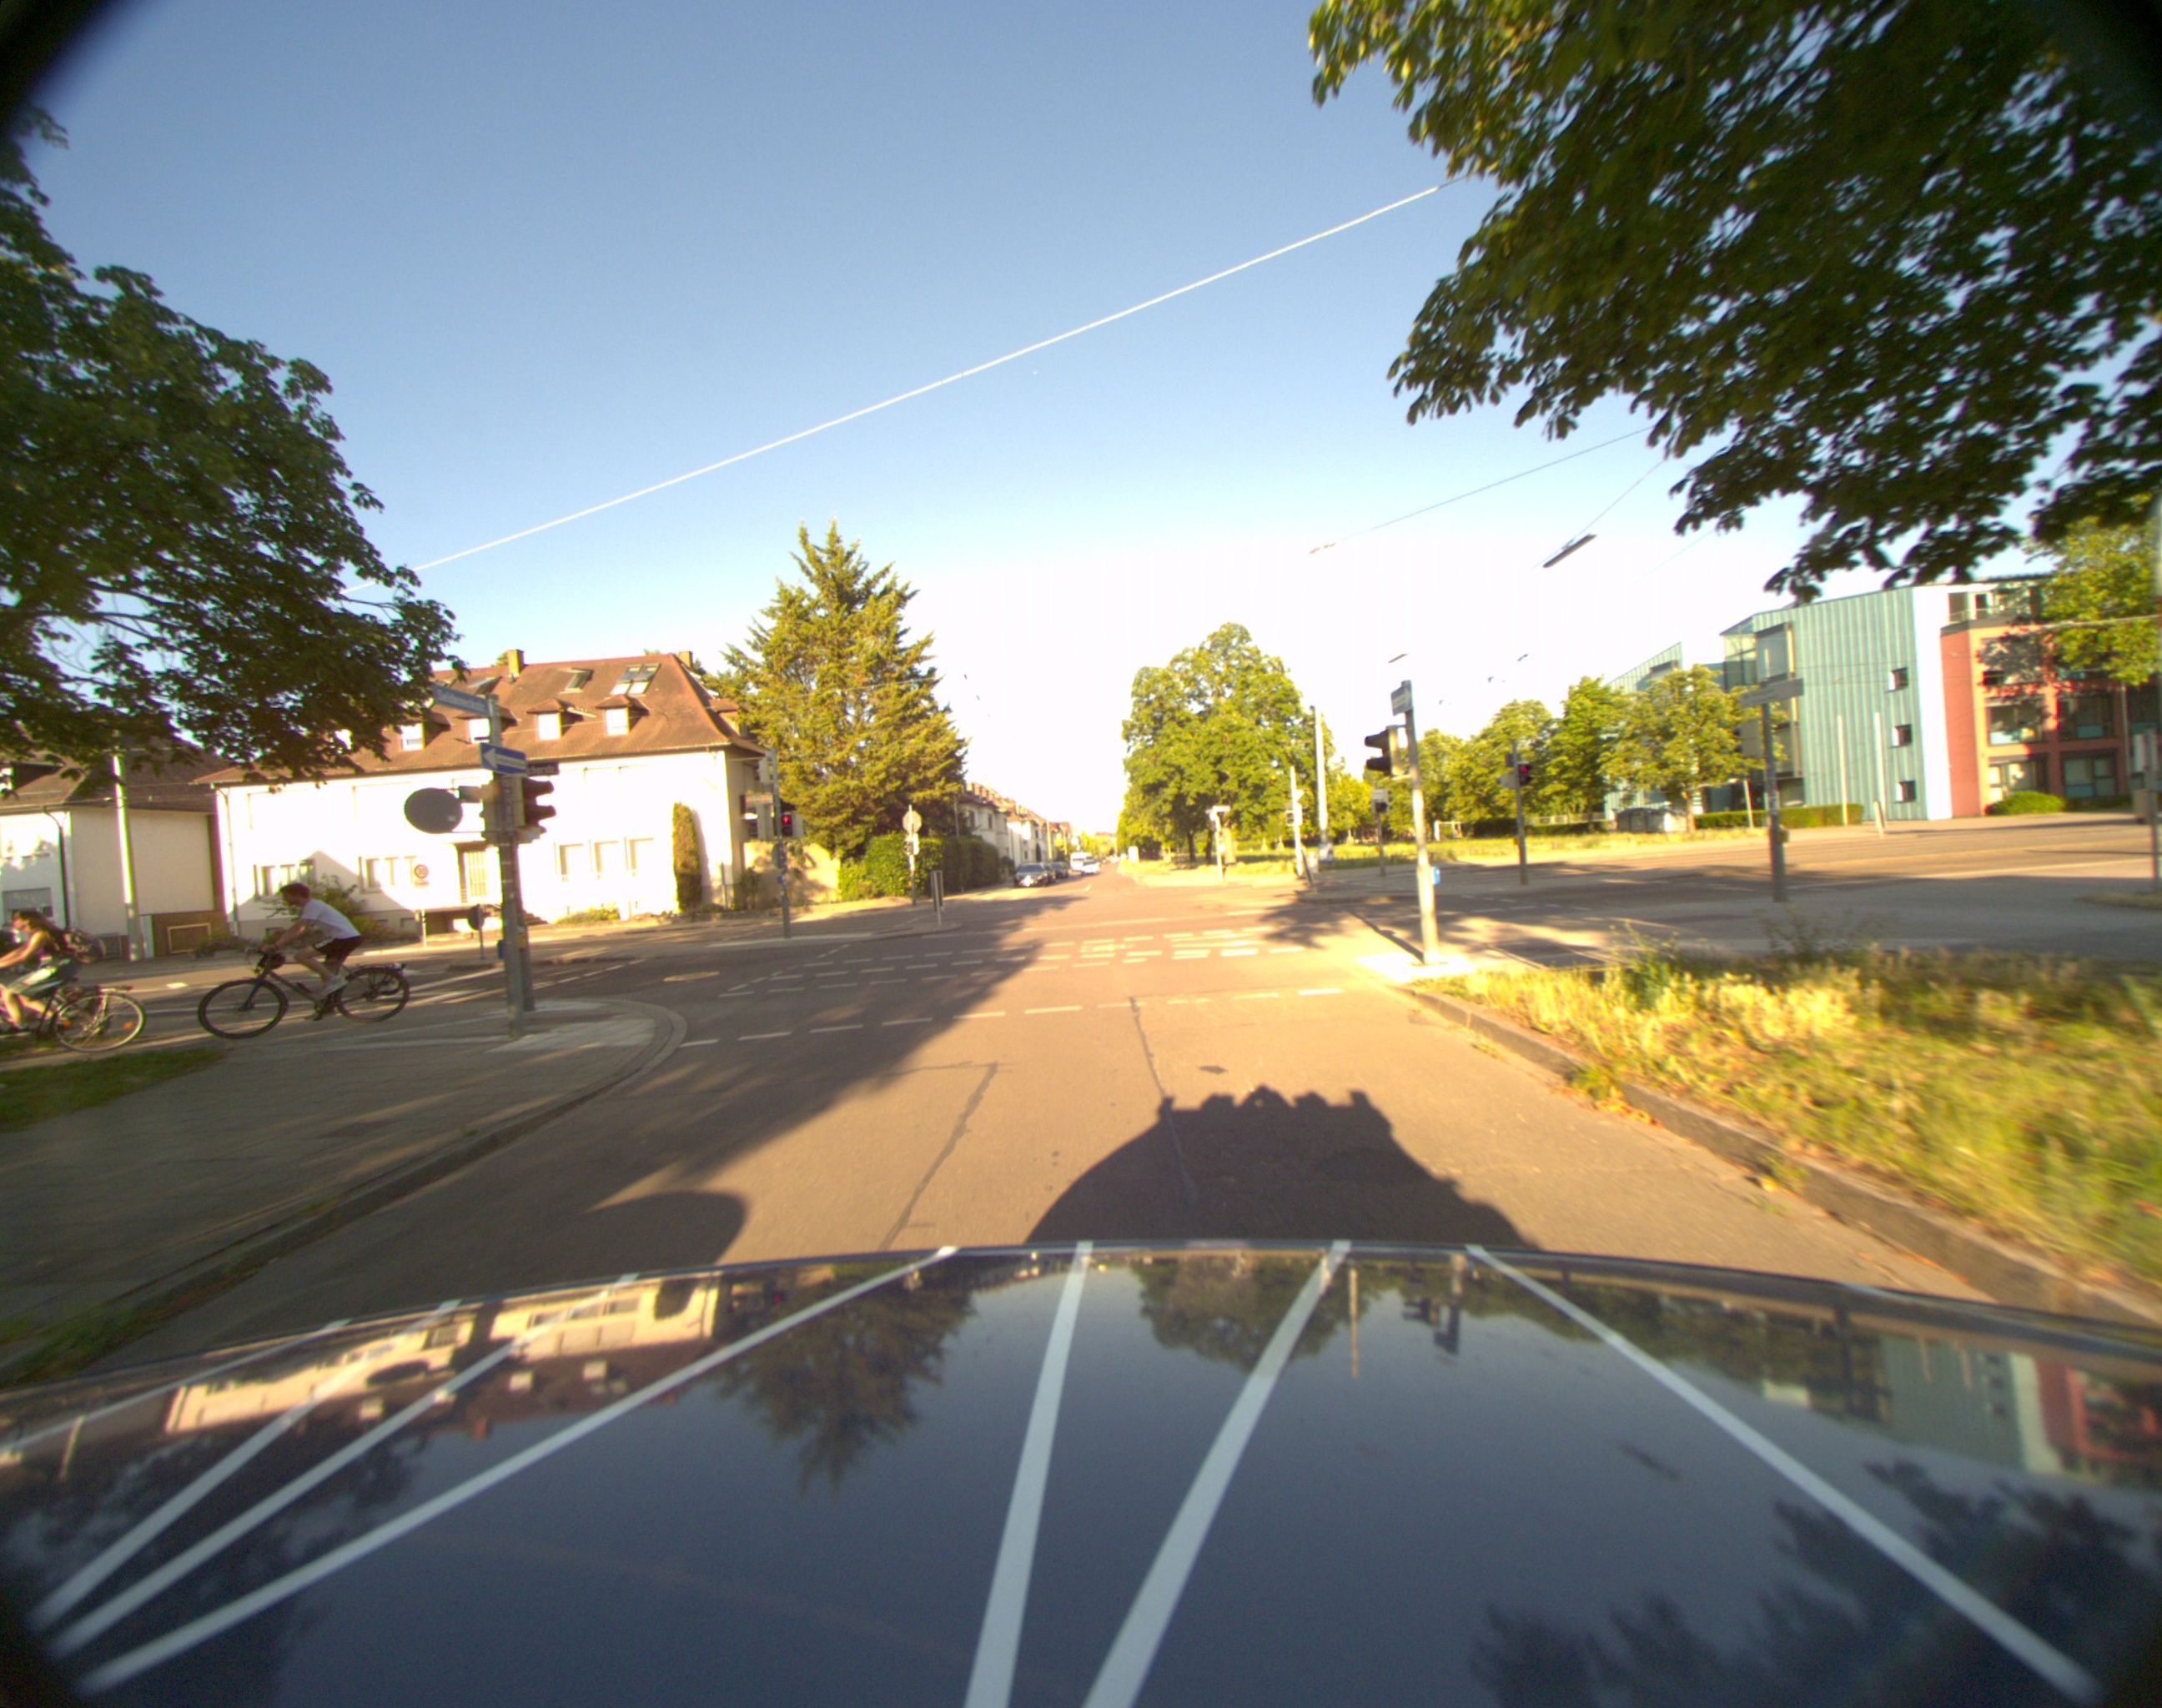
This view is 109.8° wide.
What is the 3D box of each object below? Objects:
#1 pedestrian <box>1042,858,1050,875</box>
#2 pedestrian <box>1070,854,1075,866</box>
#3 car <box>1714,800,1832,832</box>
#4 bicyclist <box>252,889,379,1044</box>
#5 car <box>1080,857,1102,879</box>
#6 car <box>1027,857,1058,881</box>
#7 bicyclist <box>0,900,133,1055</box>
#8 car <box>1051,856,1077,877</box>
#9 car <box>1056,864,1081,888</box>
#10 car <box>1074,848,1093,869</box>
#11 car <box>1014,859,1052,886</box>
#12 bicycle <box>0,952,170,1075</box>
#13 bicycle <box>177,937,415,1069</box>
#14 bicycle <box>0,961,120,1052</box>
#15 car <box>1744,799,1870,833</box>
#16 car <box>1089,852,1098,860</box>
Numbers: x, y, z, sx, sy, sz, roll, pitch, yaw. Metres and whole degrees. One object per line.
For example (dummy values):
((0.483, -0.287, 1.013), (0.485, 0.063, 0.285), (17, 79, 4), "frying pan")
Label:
((-3.990, 1.366, 85.956), (0.587, 1.836, 0.824), (-7, 2, 5), "pedestrian")
((-1.375, 0.862, 117.007), (0.531, 1.788, 0.589), (-7, 1, 2), "pedestrian")
((41.426, -2.268, 45.575), (5.219, 1.662, 1.967), (-2, 2, 2), "car")
((-9.552, 1.363, 9.536), (0.895, 1.722, 0.815), (-8, 2, -42), "bicyclist")
((0.991, 1.353, 75.276), (1.998, 1.775, 3.999), (-6, 1, 1), "car")
((-2.759, 1.027, 55.307), (1.784, 1.469, 4.001), (-7, 0, 3), "car")
((-11.655, 1.367, 8.610), (0.895, 1.553, 0.713), (-8, 2, -42), "bicyclist")
((-1.395, 1.028, 63.999), (1.795, 1.586, 4.077), (-7, 0, 3), "car")
((-1.086, 1.942, 68.964), (1.998, 1.752, 3.999), (-7, 2, 1), "car")
((0.362, 0.513, 103.065), (2.131, 2.461, 5.724), (-7, 1, 3), "car")
((-3.022, 1.137, 48.814), (2.008, 1.490, 4.915), (-2, 0, 1), "car")
((-11.788, 1.809, 8.487), (1.967, 1.177, 0.491), (-3, -1, -41), "bicycle")
((-9.648, 1.780, 9.457), (1.908, 1.177, 0.573), (-8, 1, -43), "bicycle")
((-14.085, 2.072, 10.325), (1.525, 1.083, 0.467), (-4, 1, 6), "bicycle")
((41.360, -2.136, 43.357), (5.219, 1.662, 2.000), (-3, 1, 0), "car")
((2.671, 0.398, 162.512), (1.682, 1.543, 3.843), (-3, 0, 1), "car")
